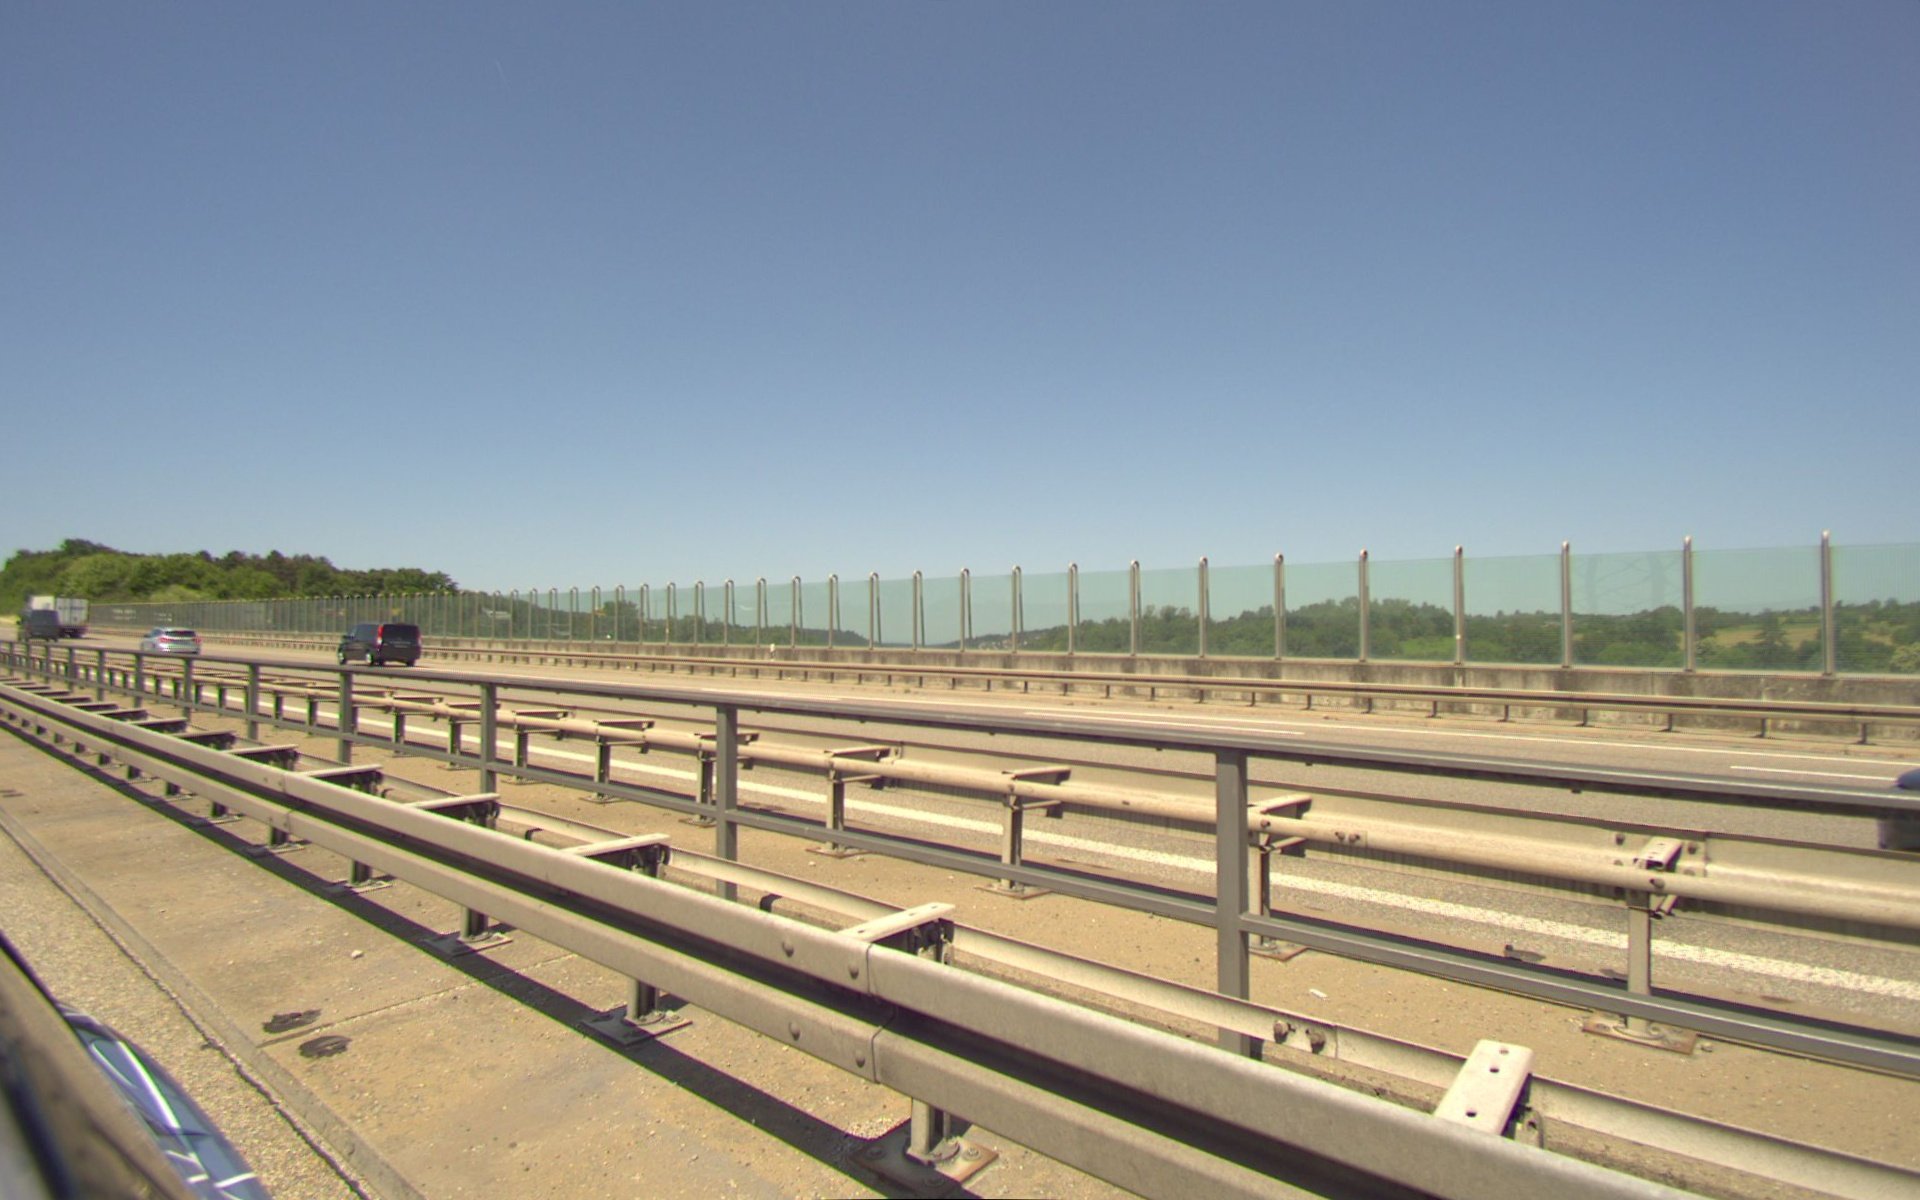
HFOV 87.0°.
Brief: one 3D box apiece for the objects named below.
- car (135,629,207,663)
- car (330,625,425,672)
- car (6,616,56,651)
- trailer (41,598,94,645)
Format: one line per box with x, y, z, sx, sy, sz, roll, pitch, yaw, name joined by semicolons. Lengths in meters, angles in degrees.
-38.711;2.220;49.623;4.383;1.556;1.972;-1;-3;41;car
-25.578;2.082;44.395;4.946;1.920;1.937;-1;-3;40;car
-74.270;2.665;80.884;6.644;2.602;1.973;-1;-3;40;car
-87.939;2.130;99.592;13.667;4.340;2.873;-1;-3;45;trailer
